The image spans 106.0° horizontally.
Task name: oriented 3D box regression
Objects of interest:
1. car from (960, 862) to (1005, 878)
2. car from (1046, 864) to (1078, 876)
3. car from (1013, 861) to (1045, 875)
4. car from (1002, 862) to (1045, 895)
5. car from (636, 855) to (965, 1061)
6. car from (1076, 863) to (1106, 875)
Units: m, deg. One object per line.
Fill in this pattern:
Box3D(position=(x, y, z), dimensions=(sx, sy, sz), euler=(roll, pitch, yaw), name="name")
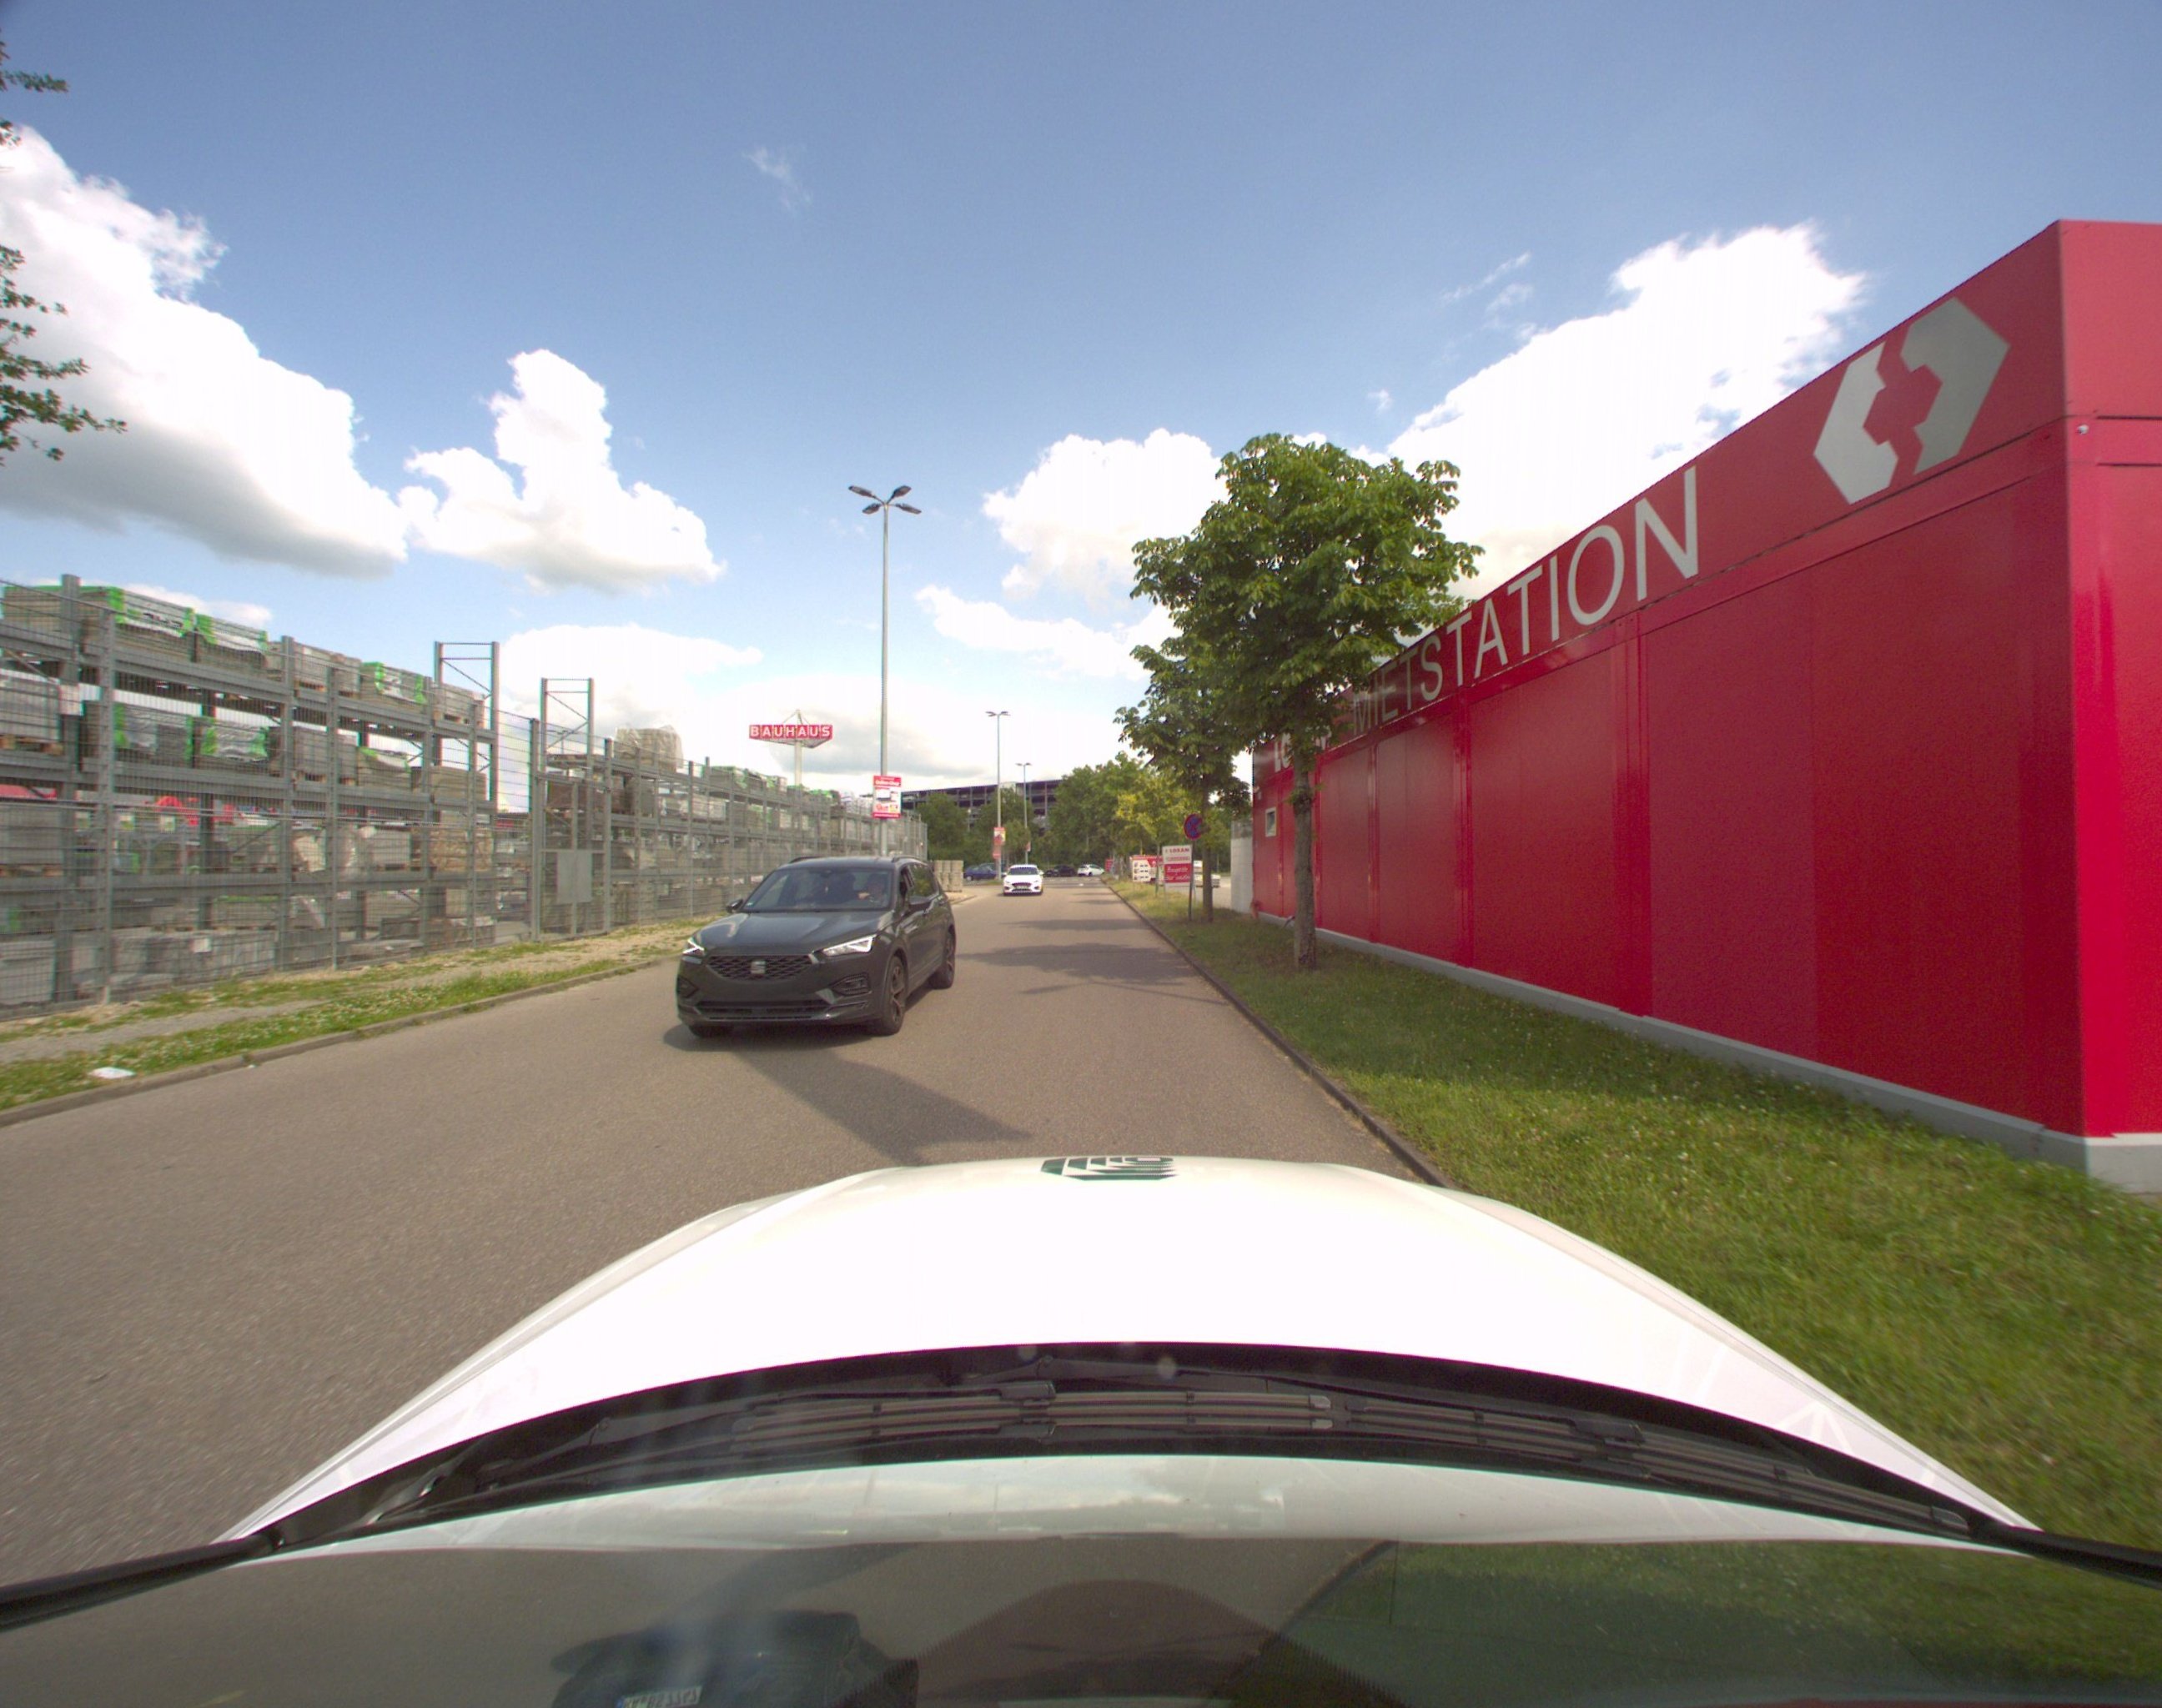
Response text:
Box3D(position=(-8.598, 1.375, 71.517), dimensions=(3.739, 1.368, 1.621), euler=(-1, -1, -1), name="car")
Box3D(position=(-2.308, 1.892, 98.627), dimensions=(1.711, 1.410, 4.270), euler=(-1, -1, 34), name="car")
Box3D(position=(-6.451, 1.755, 101.533), dimensions=(1.668, 1.510, 4.107), euler=(-7, -5, 37), name="car")
Box3D(position=(-2.735, 1.147, 39.449), dimensions=(1.798, 1.464, 4.327), euler=(0, 0, 0), name="car")
Box3D(position=(-2.570, 0.837, 8.742), dimensions=(1.908, 1.618, 4.374), euler=(-1, 0, 1), name="car")
Box3D(position=(1.171, 1.765, 96.028), dimensions=(1.648, 1.411, 3.580), euler=(-1, -1, 39), name="car")
